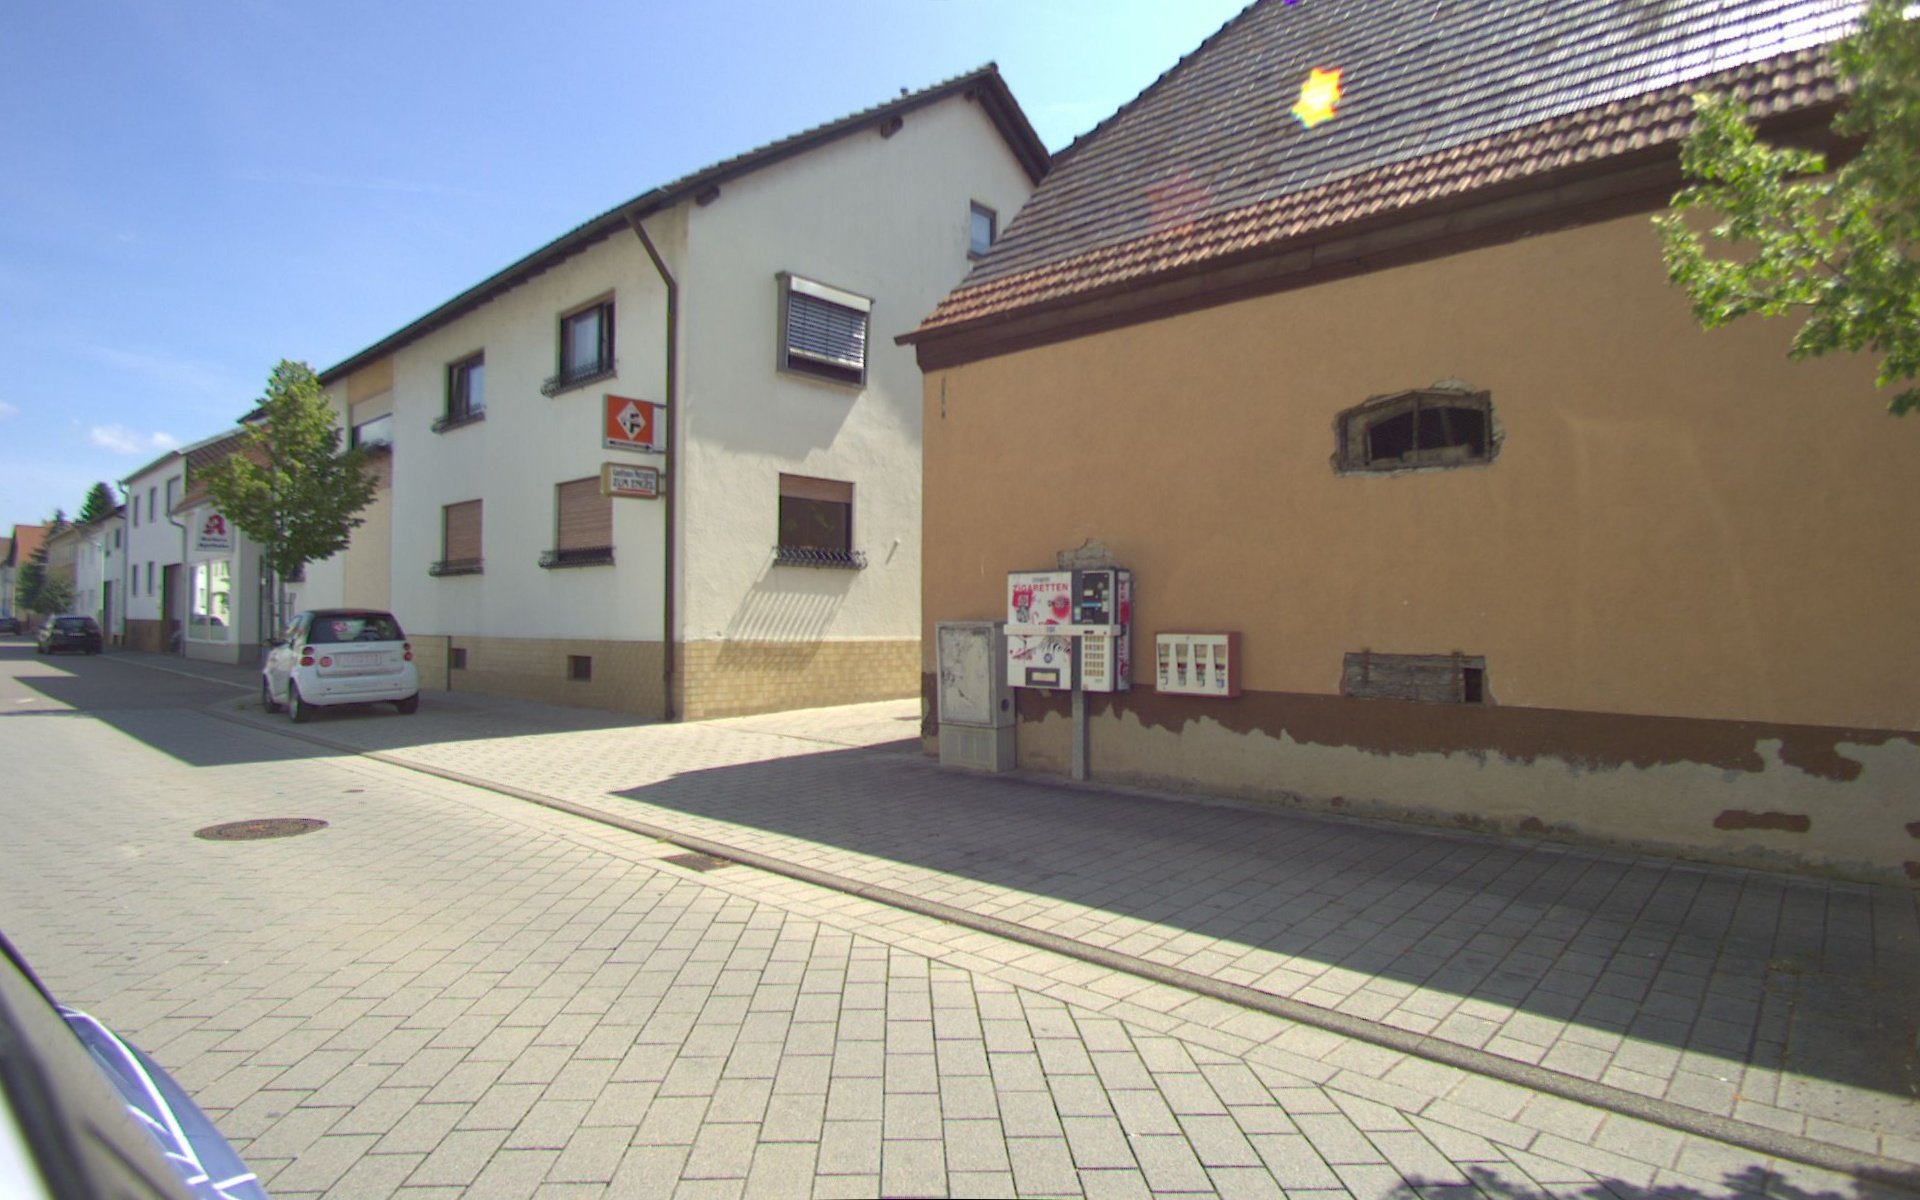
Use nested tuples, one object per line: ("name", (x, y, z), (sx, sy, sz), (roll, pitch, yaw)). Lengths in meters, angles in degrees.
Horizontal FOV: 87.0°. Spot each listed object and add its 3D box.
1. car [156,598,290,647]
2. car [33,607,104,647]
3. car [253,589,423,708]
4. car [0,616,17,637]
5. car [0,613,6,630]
("car", (-28.574, 0.822, 39.312), (1.815, 1.731, 3.942), (-1, 0, 45))
("car", (-36.775, 1.092, 41.720), (3.954, 1.578, 1.729), (-1, -2, 42))
("car", (-9.335, 0.664, 15.124), (1.554, 1.573, 2.824), (-2, 1, -44))
("car", (-76.687, 2.102, 80.786), (4.001, 1.711, 1.826), (-1, -2, 44))
("car", (-92.093, 2.045, 96.073), (3.999, 1.564, 1.830), (-1, -2, 42))
